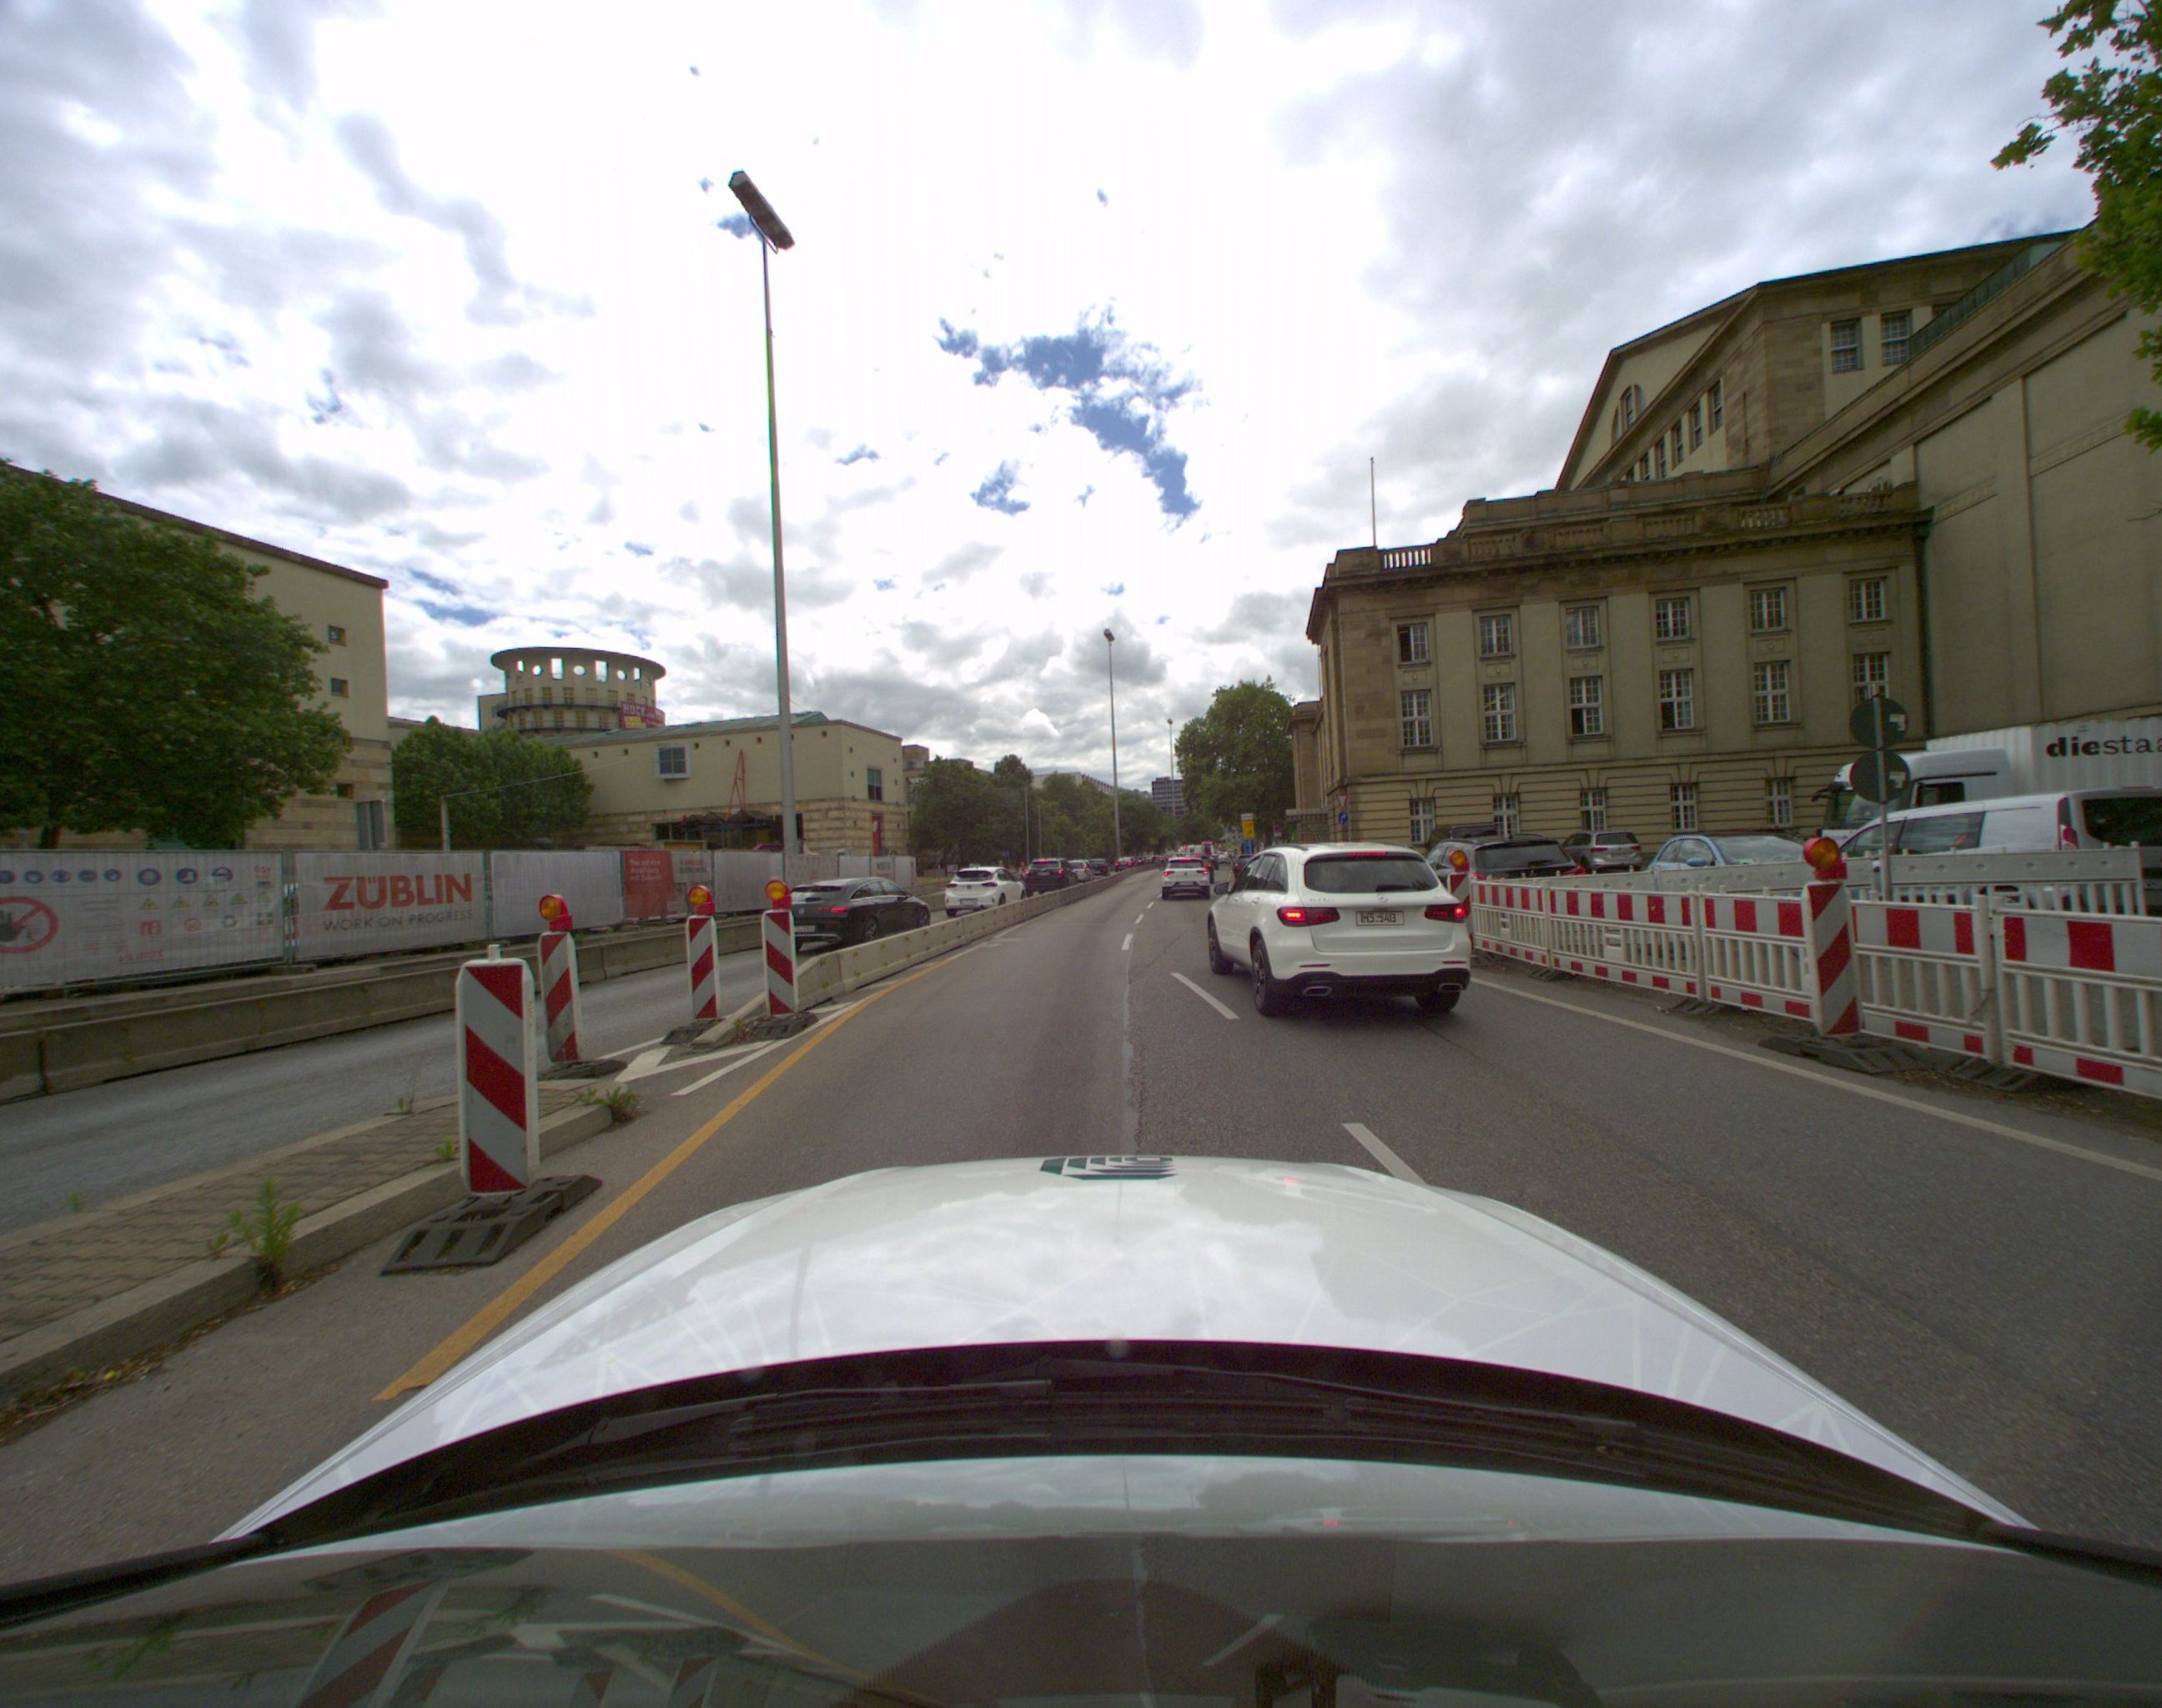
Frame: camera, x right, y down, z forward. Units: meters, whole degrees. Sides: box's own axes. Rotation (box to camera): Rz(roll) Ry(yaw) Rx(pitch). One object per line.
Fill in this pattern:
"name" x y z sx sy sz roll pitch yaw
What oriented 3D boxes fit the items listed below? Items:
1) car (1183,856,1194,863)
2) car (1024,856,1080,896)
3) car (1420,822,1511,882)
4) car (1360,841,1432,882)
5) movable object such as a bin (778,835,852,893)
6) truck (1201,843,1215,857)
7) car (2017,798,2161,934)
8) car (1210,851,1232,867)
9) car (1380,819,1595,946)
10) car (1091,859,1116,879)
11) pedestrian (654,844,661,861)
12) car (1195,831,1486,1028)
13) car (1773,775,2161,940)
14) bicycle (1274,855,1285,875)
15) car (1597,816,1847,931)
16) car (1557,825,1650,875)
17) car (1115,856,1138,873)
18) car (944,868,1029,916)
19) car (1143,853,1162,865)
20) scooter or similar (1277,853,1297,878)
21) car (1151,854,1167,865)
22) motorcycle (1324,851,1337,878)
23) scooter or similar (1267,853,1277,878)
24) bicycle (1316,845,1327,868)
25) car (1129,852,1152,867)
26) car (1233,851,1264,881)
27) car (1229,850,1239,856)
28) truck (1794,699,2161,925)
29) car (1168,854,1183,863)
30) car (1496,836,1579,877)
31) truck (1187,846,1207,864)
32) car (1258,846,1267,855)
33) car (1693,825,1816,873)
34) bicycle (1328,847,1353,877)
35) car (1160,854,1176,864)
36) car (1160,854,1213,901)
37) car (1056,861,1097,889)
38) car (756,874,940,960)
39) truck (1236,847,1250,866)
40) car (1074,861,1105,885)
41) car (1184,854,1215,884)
"car" 19.762 0.982 150.017 1.647 1.319 3.560 -2 0 14
"car" -1.203 0.938 35.770 1.766 1.621 4.054 -2 -1 7
"car" 14.753 -0.085 31.544 1.936 2.069 4.931 -2 0 11
"car" 12.299 0.259 32.066 1.767 1.469 4.588 -2 0 11
"movable object such as a bin" -10.771 0.372 33.167 1.513 2.185 3.299 -3 0 7
"truck" 27.900 -0.917 178.598 2.674 2.992 5.656 -1 -1 12
"car" 14.195 0.122 9.878 1.704 1.689 3.771 -2 0 10
"car" 13.752 0.440 80.001 1.913 1.443 3.974 -3 0 7
"car" 6.517 0.386 13.678 1.795 1.738 4.494 -2 0 7
"car" 1.709 1.119 61.695 1.651 1.454 4.203 -2 0 4
"pedestrian" -51.746 -0.188 99.485 0.408 2.014 0.603 -1 -1 12
"car" 2.511 0.654 9.118 1.782 1.625 4.435 -1 -1 -1
"car" 11.991 0.042 11.105 1.794 1.784 4.634 0 0 10
"bicycle" 11.835 0.666 48.595 0.456 1.156 1.836 -3 -1 11
"car" 9.802 0.280 12.812 1.570 1.530 3.513 -2 0 10
"car" 19.192 -0.147 30.097 1.632 1.669 3.628 -2 0 11
"car" 4.637 1.052 82.482 1.913 1.636 4.946 -2 0 7
"car" -2.857 1.136 25.450 1.717 1.296 3.943 -2 -1 7
"car" 8.909 0.662 101.148 1.667 1.367 4.558 -3 0 12
"scooter or similar" 10.667 0.626 42.165 0.451 1.253 1.365 -2 -2 -9
"car" 10.634 0.786 110.353 1.650 1.436 3.973 -2 -1 12
"motorcycle" 11.856 0.482 38.736 0.451 1.242 1.930 -4 -1 15
"scooter or similar" 9.931 0.576 42.348 0.377 1.261 1.408 -3 -1 12
"bicycle" 14.195 0.140 48.103 0.409 1.288 1.796 -3 -1 12
"car" 6.641 0.594 90.803 1.804 1.499 4.785 -3 0 12
"car" 9.836 0.683 48.077 1.536 1.552 3.719 -5 -1 10
"car" 33.780 -0.243 179.597 1.933 1.319 4.031 -2 0 13
"truck" 22.017 -0.955 17.138 10.286 4.205 3.009 -3 -1 11
"car" 14.704 0.763 127.145 1.646 1.319 3.563 -2 0 17
"car" 17.167 0.080 30.782 1.632 1.413 3.628 -2 0 11
"truck" 19.102 0.082 133.944 2.603 2.861 7.103 -1 0 13
"car" 42.719 -0.799 191.615 1.979 2.014 4.015 -2 -1 13
"car" 23.653 -0.180 28.790 1.632 1.534 3.931 -2 0 11
"bicycle" 11.259 0.354 35.368 0.605 1.224 1.967 -6 -1 9
"car" 12.703 0.738 118.805 1.763 1.420 4.015 -3 0 13
"car" 4.008 0.838 30.866 1.786 1.608 3.763 -3 0 8
"car" -0.204 1.174 47.715 1.869 1.481 4.712 -2 0 6
"car" -4.613 1.205 16.951 1.843 1.415 4.577 -1 0 9
"truck" 35.919 0.476 180.265 2.858 4.103 6.659 -1 0 11
"car" 0.593 1.255 55.440 1.663 1.507 3.861 -2 0 7
"car" 6.848 0.827 46.864 1.649 1.639 3.557 -1 0 10
